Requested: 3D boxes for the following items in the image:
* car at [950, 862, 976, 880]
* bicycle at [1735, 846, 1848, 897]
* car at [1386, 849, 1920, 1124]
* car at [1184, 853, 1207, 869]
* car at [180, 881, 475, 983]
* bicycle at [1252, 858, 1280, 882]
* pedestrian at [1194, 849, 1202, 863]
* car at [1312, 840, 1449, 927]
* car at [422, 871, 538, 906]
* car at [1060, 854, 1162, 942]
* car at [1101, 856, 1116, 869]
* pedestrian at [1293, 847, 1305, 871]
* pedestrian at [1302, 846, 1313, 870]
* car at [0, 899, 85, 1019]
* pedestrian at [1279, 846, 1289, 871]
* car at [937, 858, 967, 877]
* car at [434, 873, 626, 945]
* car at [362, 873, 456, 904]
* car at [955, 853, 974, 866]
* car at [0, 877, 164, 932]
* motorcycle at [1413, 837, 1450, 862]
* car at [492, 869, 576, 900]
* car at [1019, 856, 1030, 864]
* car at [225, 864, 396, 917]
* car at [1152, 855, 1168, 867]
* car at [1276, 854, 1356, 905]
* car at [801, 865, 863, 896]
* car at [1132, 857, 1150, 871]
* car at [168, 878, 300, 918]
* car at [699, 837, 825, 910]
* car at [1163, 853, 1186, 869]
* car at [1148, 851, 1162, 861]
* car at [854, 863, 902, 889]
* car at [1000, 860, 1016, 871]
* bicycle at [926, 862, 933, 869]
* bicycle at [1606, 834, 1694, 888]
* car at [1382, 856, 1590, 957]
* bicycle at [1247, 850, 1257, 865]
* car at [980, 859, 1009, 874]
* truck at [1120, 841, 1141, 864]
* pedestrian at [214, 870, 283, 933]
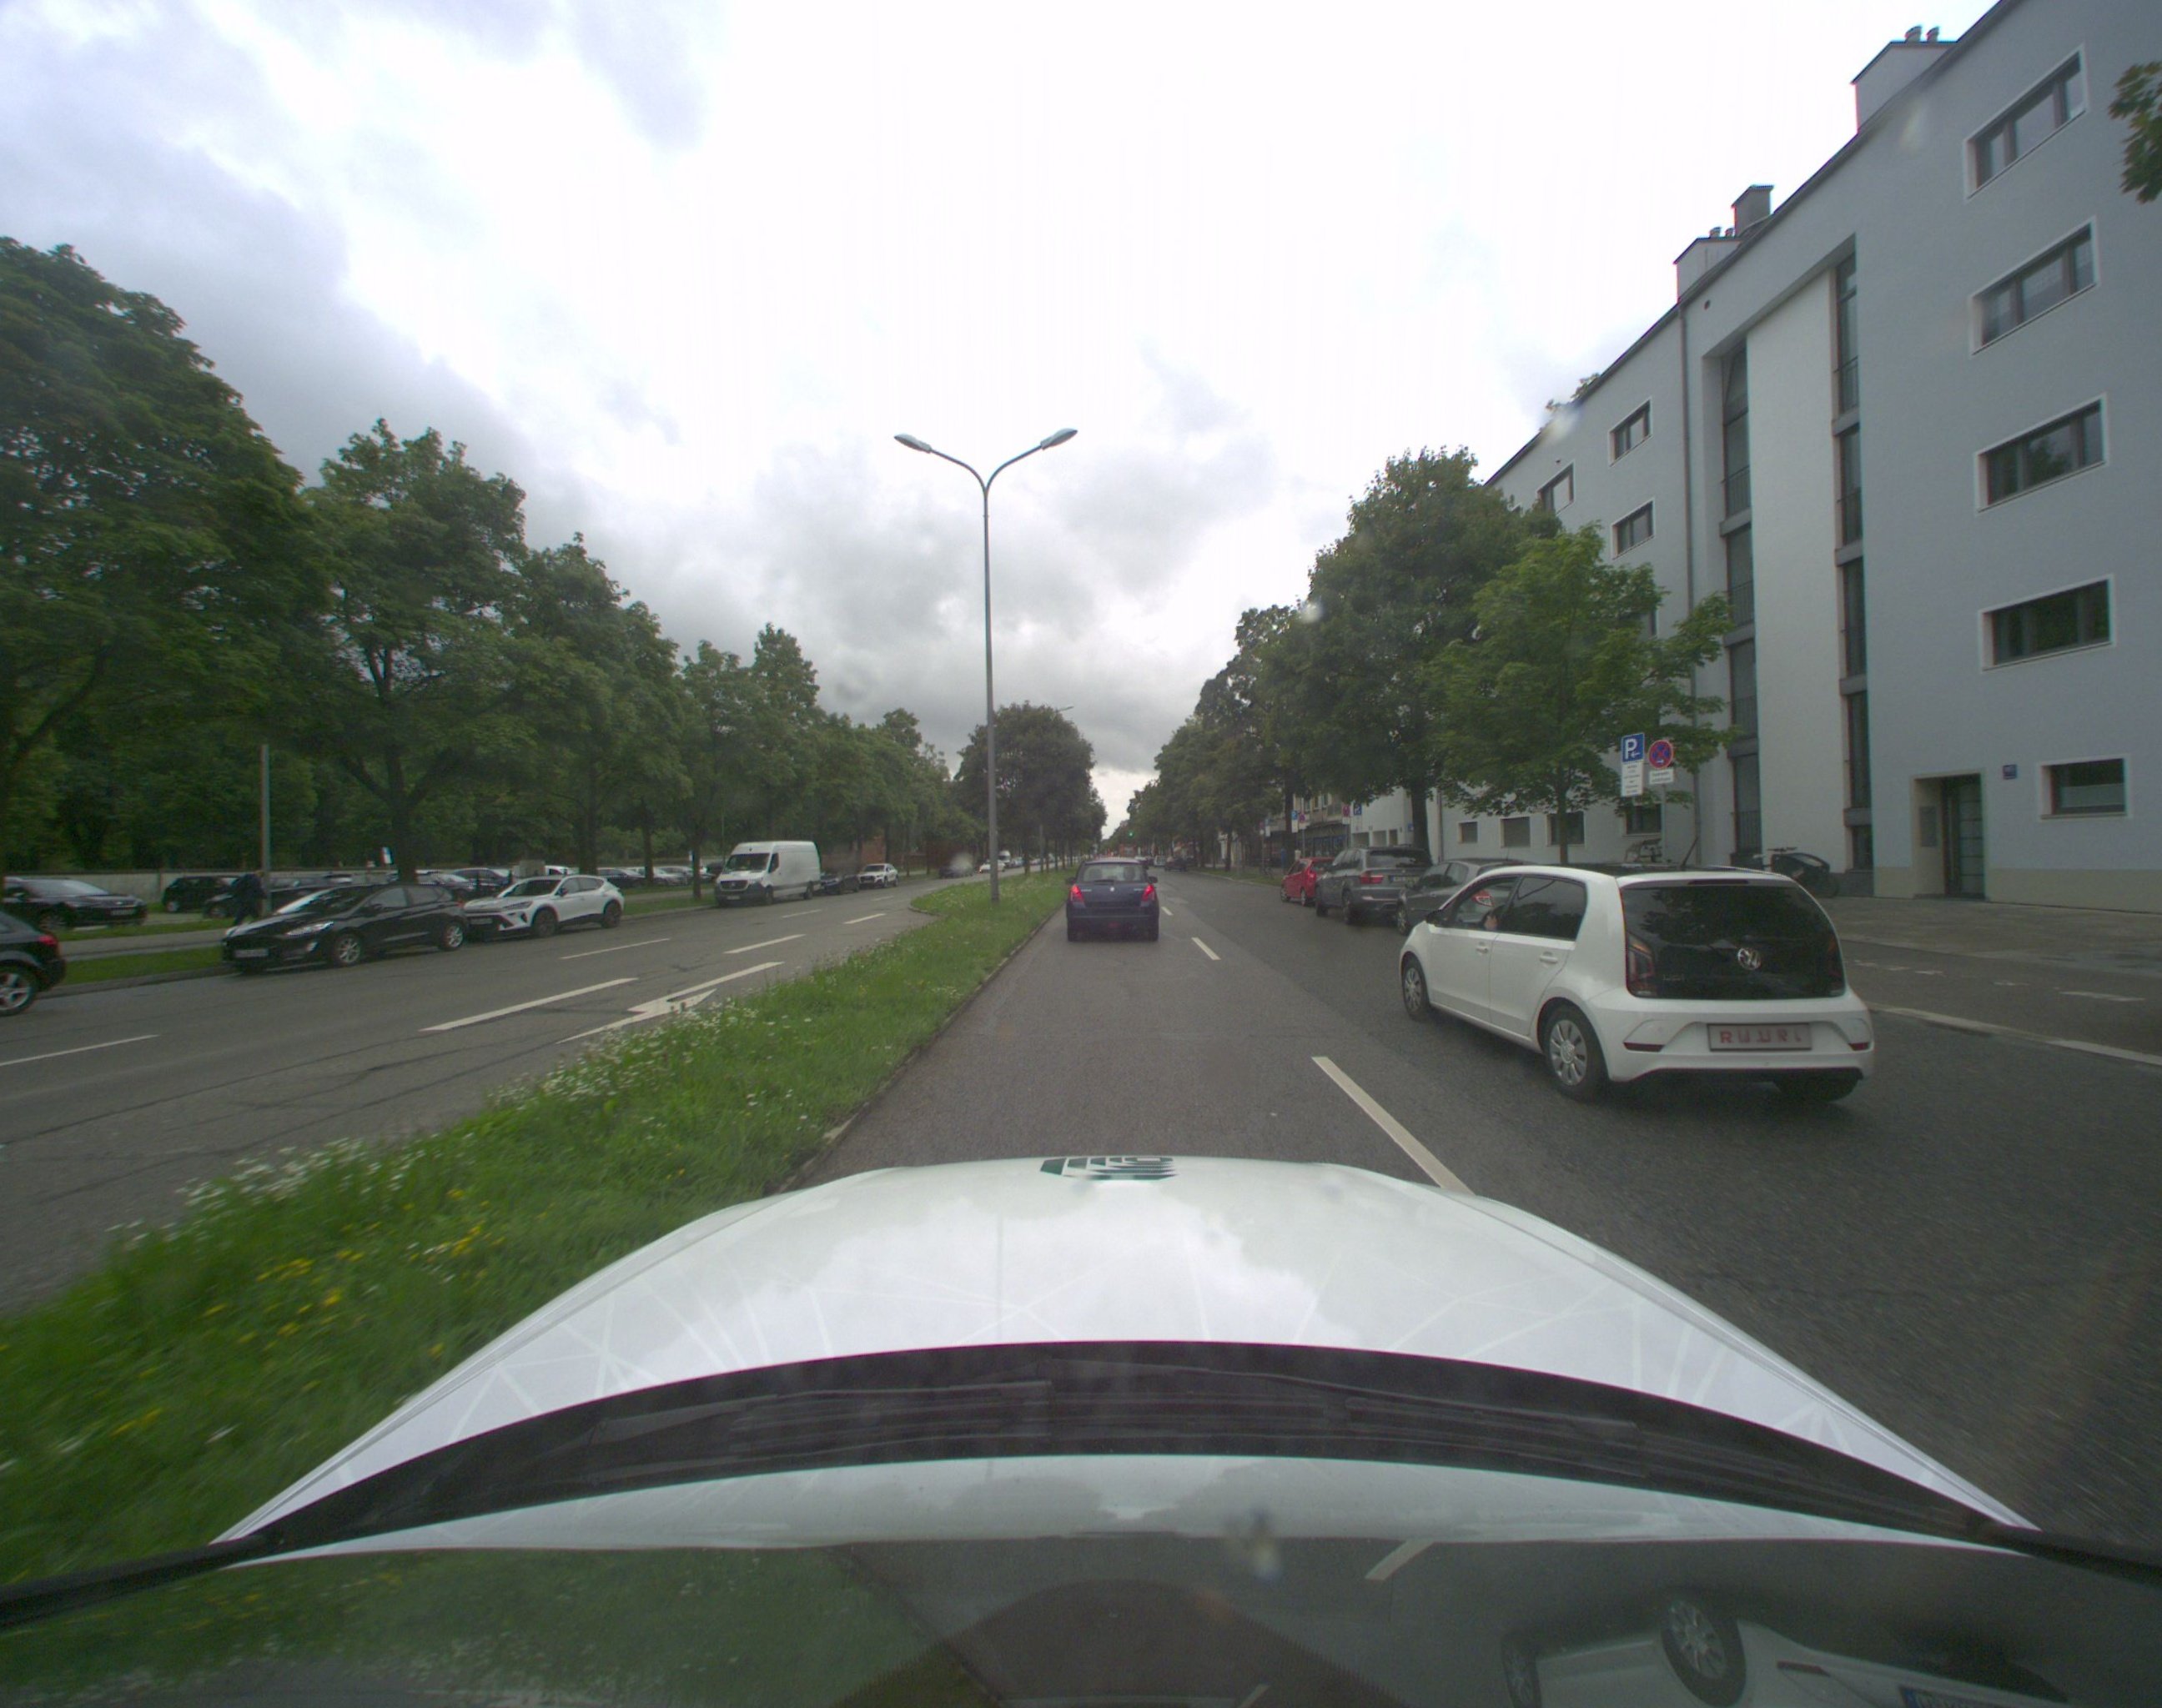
[{"bbox_3d":[-11.382,1.592,78.867,1.632,1.537,4.316,-4,0,2],"label":"car"},{"bbox_3d":[15.963,0.377,18.396,0.619,1.046,2.196,-5,0,2],"label":"bicycle"},{"bbox_3d":[3.826,0.737,6.245,1.681,1.490,3.434,-1,0,0],"label":"car"},{"bbox_3d":[12.134,0.716,86.589,1.986,1.643,4.335,-1,0,2],"label":"car"},{"bbox_3d":[-13.679,1.322,15.184,1.817,1.447,3.996,-3,0,-2],"label":"car"},{"bbox_3d":[9.870,0.827,43.617,0.455,1.256,2.138,-1,0,-16],"label":"bicycle"},{"bbox_3d":[15.741,0.255,109.363,0.790,1.855,0.776,-3,0,-1],"label":"pedestrian"},{"bbox_3d":[6.781,0.608,18.969,1.821,1.746,4.514,-1,0,5],"label":"car"},{"bbox_3d":[-27.091,1.537,36.766,3.966,1.438,1.818,-1,0,6],"label":"car"},{"bbox_3d":[0.617,0.770,16.143,1.746,1.505,4.003,-1,0,3],"label":"car"},{"bbox_3d":[3.191,0.961,95.580,1.712,1.501,4.302,-1,0,2],"label":"car"},{"bbox_3d":[14.963,0.334,55.871,0.547,1.629,0.641,-3,0,2],"label":"pedestrian"},{"bbox_3d":[15.619,0.294,56.124,0.539,1.640,0.725,-1,0,2],"label":"pedestrian"},{"bbox_3d":[-14.003,1.327,8.623,1.813,1.409,4.004,-3,0,4],"label":"car"},{"bbox_3d":[13.890,0.313,55.821,0.498,1.733,0.733,-1,0,2],"label":"pedestrian"},{"bbox_3d":[-11.514,1.183,73.010,1.880,1.537,4.314,-4,0,0],"label":"car"},{"bbox_3d":[-13.598,1.283,20.466,1.815,1.527,4.299,-3,-1,1],"label":"car"},{"bbox_3d":[-37.735,1.924,45.778,3.966,1.596,1.773,-1,0,6],"label":"car"},{"bbox_3d":[-15.199,0.713,106.121,1.807,1.536,4.299,-1,0,1],"label":"car"},{"bbox_3d":[-26.715,1.290,20.991,3.980,1.258,1.687,-1,0,-5],"label":"car"},{"bbox_3d":[15.943,-0.184,37.108,0.758,1.086,2.200,-2,0,2],"label":"motorcycle"},{"bbox_3d":[-38.006,2.107,56.678,4.489,2.034,2.000,-1,0,1],"label":"car"},{"bbox_3d":[-10.872,1.160,157.873,1.700,1.534,4.002,-1,0,2],"label":"car"},{"bbox_3d":[-25.253,1.178,26.787,3.970,1.570,1.816,-1,0,3],"label":"car"},{"bbox_3d":[9.994,0.876,103.596,1.648,1.452,3.999,-1,0,0],"label":"car"},{"bbox_3d":[7.369,0.752,25.876,1.515,1.441,4.003,-1,0,3],"label":"car"},{"bbox_3d":[-12.811,1.339,42.138,1.851,1.491,4.252,-1,-1,1],"label":"car"},{"bbox_3d":[6.640,1.097,90.789,1.815,1.477,4.692,1,0,2],"label":"car"},{"bbox_3d":[-37.753,1.948,36.376,3.974,1.596,1.770,-1,0,0],"label":"car"},{"bbox_3d":[-13.193,0.728,34.357,2.131,2.643,7.109,-3,0,2],"label":"car"},{"bbox_3d":[9.061,0.702,79.208,1.986,1.452,4.002,-1,0,2],"label":"car"},{"bbox_3d":[10.892,0.332,120.137,1.648,1.452,4.707,-1,0,0],"label":"car"},{"bbox_3d":[-12.424,1.329,50.020,1.851,1.491,4.142,-1,-1,1],"label":"car"},{"bbox_3d":[-11.923,1.805,133.718,2.179,1.736,4.576,-1,0,-1],"label":"car"},{"bbox_3d":[-19.687,1.526,106.012,0.653,0.936,1.619,-1,0,-1],"label":"bicycle"},{"bbox_3d":[16.153,0.193,23.216,0.700,1.407,2.594,-3,0,2],"label":"bicycle"},{"bbox_3d":[6.942,0.810,14.436,1.823,1.522,3.771,-1,0,1],"label":"car"},{"bbox_3d":[16.721,0.371,79.701,0.578,1.463,1.689,-1,0,2],"label":"bicycle"},{"bbox_3d":[-10.070,1.461,95.036,1.747,1.537,4.334,-4,0,17],"label":"car"},{"bbox_3d":[7.810,-0.222,129.768,3.029,3.557,13.683,-1,0,3],"label":"truck"},{"bbox_3d":[-20.822,1.172,20.383,0.792,1.495,0.856,-2,0,2],"label":"pedestrian"}]
